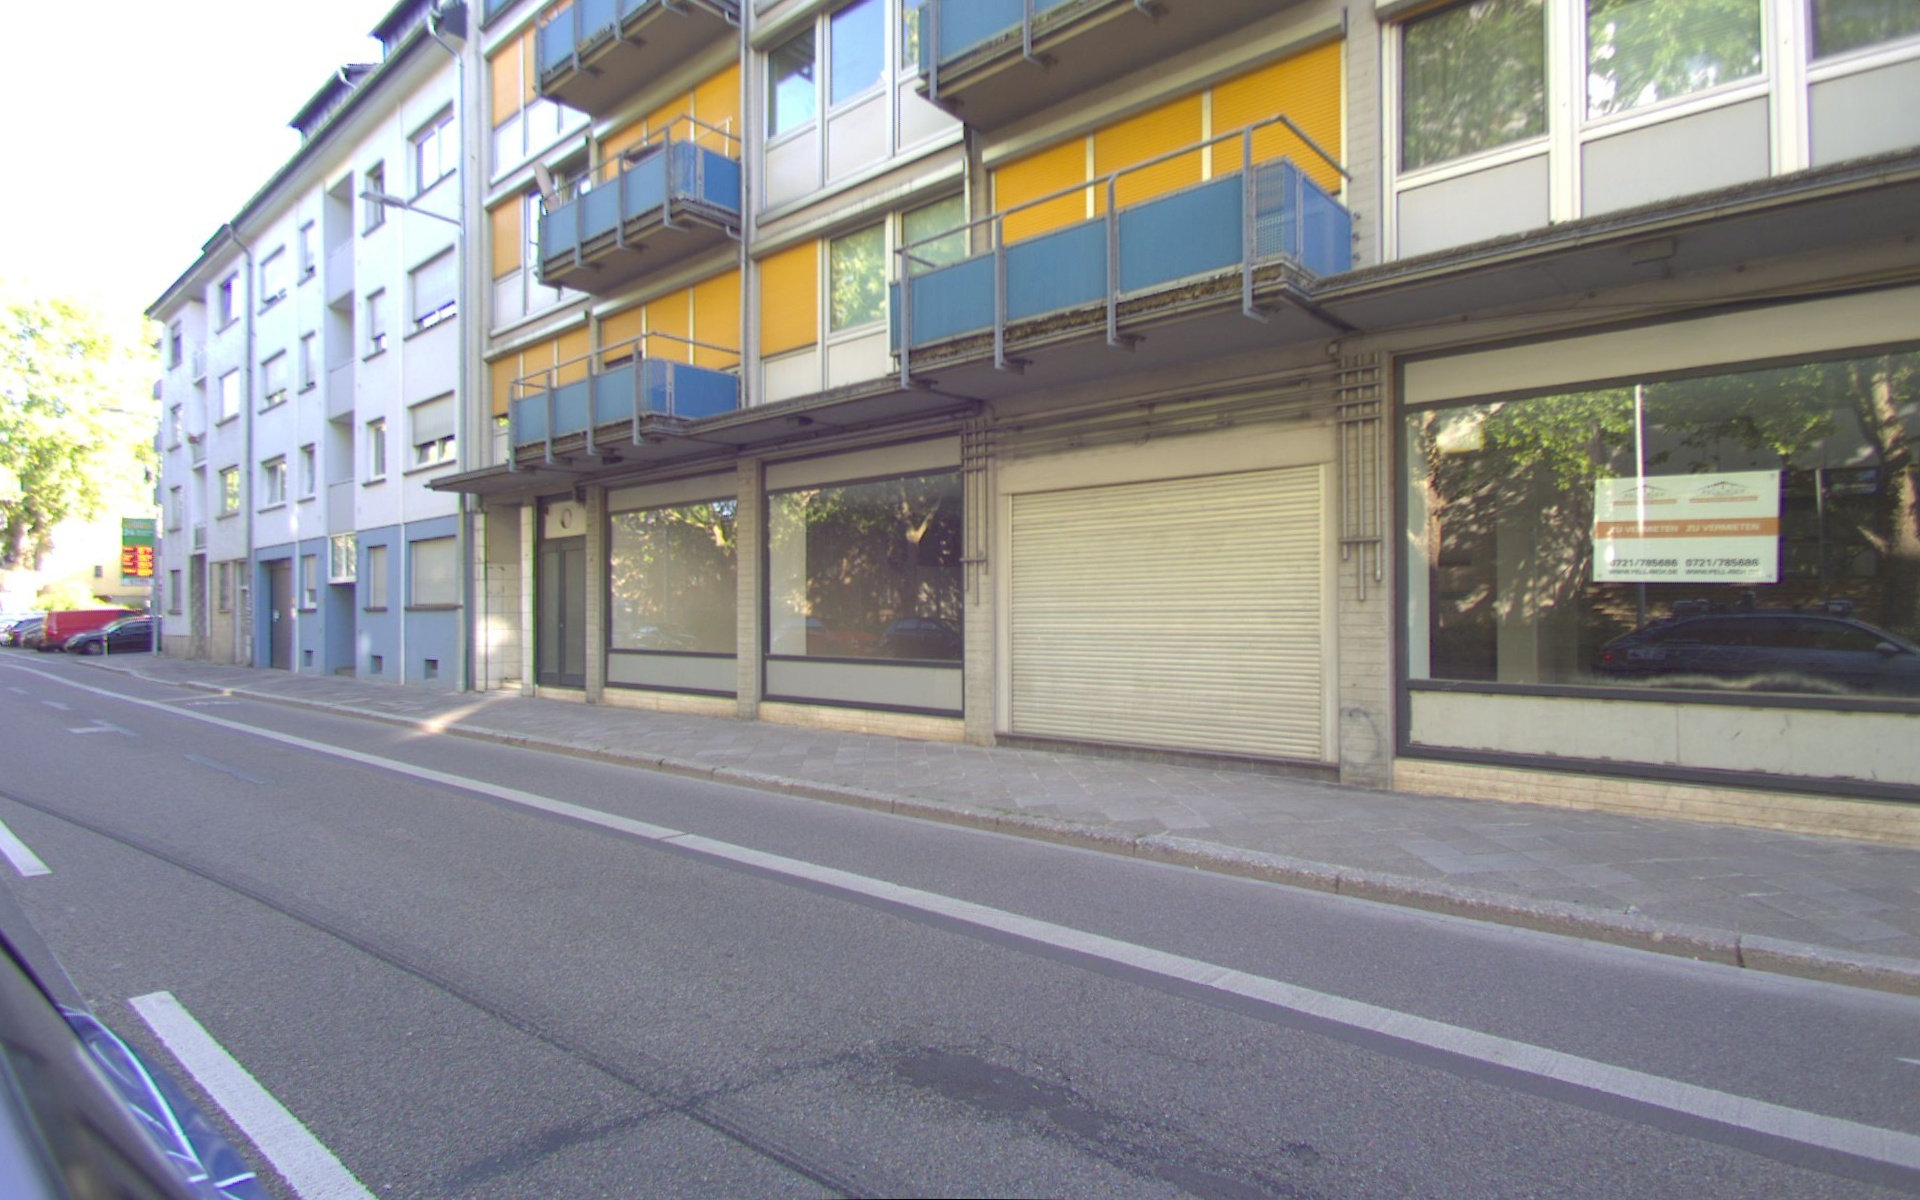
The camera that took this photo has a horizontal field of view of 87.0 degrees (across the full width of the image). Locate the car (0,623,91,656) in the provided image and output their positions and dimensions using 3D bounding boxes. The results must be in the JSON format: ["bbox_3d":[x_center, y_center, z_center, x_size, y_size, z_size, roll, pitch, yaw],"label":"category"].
[{"bbox_3d":[-50.822,2.158,55.969,1.699,1.640,3.952,-1,0,35],"label":"car"}]

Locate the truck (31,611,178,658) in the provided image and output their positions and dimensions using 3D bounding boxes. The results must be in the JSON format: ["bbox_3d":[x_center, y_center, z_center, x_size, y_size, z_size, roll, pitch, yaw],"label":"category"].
[{"bbox_3d":[-40.352,1.578,47.838,1.998,2.036,5.024,-1,0,40],"label":"truck"}]

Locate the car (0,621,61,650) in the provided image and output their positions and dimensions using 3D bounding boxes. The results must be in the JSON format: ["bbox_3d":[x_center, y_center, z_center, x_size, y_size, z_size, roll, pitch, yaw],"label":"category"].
[{"bbox_3d":[-55.069,2.077,59.003,1.715,1.594,3.660,-1,0,35],"label":"car"}]

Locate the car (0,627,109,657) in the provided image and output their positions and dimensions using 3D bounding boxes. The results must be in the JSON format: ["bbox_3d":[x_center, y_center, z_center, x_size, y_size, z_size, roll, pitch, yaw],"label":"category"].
[{"bbox_3d":[-43.435,1.978,48.359,1.904,1.282,3.983,-1,0,39],"label":"car"}]

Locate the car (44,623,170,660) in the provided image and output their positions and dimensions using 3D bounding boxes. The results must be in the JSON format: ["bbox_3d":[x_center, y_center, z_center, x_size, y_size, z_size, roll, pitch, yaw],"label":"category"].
[{"bbox_3d":[-36.867,1.760,43.810,1.780,1.404,3.947,-1,0,39],"label":"car"}]

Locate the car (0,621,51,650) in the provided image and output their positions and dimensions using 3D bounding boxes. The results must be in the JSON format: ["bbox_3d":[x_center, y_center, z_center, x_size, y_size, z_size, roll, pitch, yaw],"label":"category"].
[{"bbox_3d":[-56.889,2.117,60.395,1.740,1.600,3.685,-1,0,35],"label":"car"}]

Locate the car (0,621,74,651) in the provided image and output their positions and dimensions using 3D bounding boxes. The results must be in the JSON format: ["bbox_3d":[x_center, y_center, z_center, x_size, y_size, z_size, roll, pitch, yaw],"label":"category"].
[{"bbox_3d":[-52.885,2.032,57.474,1.656,1.599,3.615,-1,0,35],"label":"car"}]

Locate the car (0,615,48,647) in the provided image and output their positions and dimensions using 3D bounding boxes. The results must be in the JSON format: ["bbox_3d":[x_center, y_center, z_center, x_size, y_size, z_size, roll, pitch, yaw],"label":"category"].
[{"bbox_3d":[-59.761,1.963,63.836,1.693,1.953,3.224,-1,0,43],"label":"car"}]
